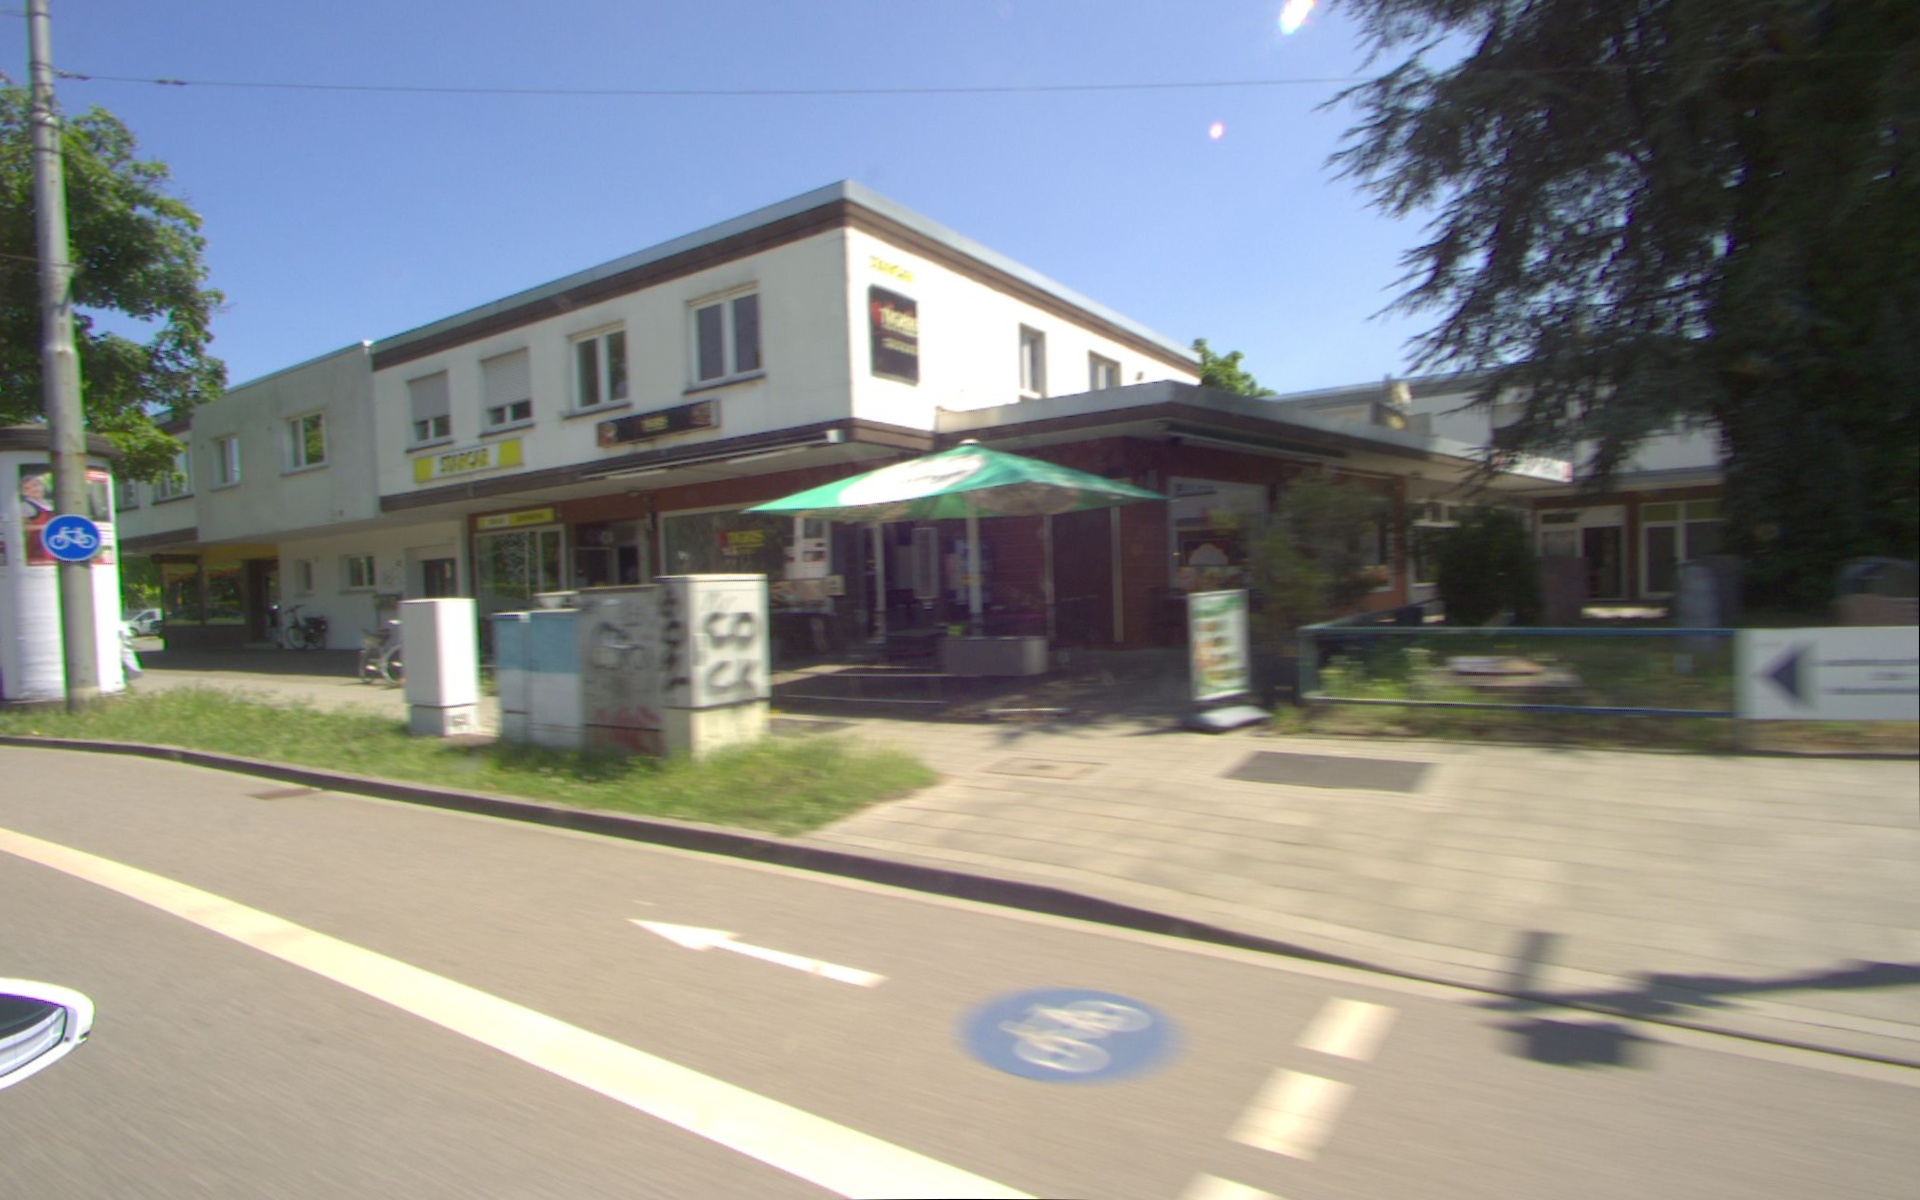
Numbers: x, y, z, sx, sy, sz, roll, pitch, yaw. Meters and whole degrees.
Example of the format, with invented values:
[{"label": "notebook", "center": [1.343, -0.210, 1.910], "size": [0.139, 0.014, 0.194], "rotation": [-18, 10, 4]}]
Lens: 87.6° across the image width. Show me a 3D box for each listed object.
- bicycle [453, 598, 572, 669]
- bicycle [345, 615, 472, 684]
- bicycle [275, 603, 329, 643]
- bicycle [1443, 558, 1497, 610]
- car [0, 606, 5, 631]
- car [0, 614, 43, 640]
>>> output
[{"label": "bicycle", "center": [-8.162, 0.583, 18.202], "size": [2.607, 1.179, 0.983], "rotation": [-1, 1, 42]}, {"label": "bicycle", "center": [-9.162, 0.776, 16.576], "size": [2.607, 1.028, 1.028], "rotation": [-1, 1, 42]}, {"label": "bicycle", "center": [-18.242, 0.650, 27.755], "size": [1.837, 1.079, 0.506], "rotation": [-2, -1, 32]}, {"label": "bicycle", "center": [12.487, -0.376, 24.484], "size": [1.859, 1.207, 0.593], "rotation": [0, -1, -44]}, {"label": "car", "center": [-49.911, 0.997, 49.674], "size": [1.458, 1.238, 3.526], "rotation": [-1, 1, 39]}, {"label": "car", "center": [-46.832, 1.337, 48.399], "size": [1.458, 1.239, 3.526], "rotation": [-1, 1, 39]}]
